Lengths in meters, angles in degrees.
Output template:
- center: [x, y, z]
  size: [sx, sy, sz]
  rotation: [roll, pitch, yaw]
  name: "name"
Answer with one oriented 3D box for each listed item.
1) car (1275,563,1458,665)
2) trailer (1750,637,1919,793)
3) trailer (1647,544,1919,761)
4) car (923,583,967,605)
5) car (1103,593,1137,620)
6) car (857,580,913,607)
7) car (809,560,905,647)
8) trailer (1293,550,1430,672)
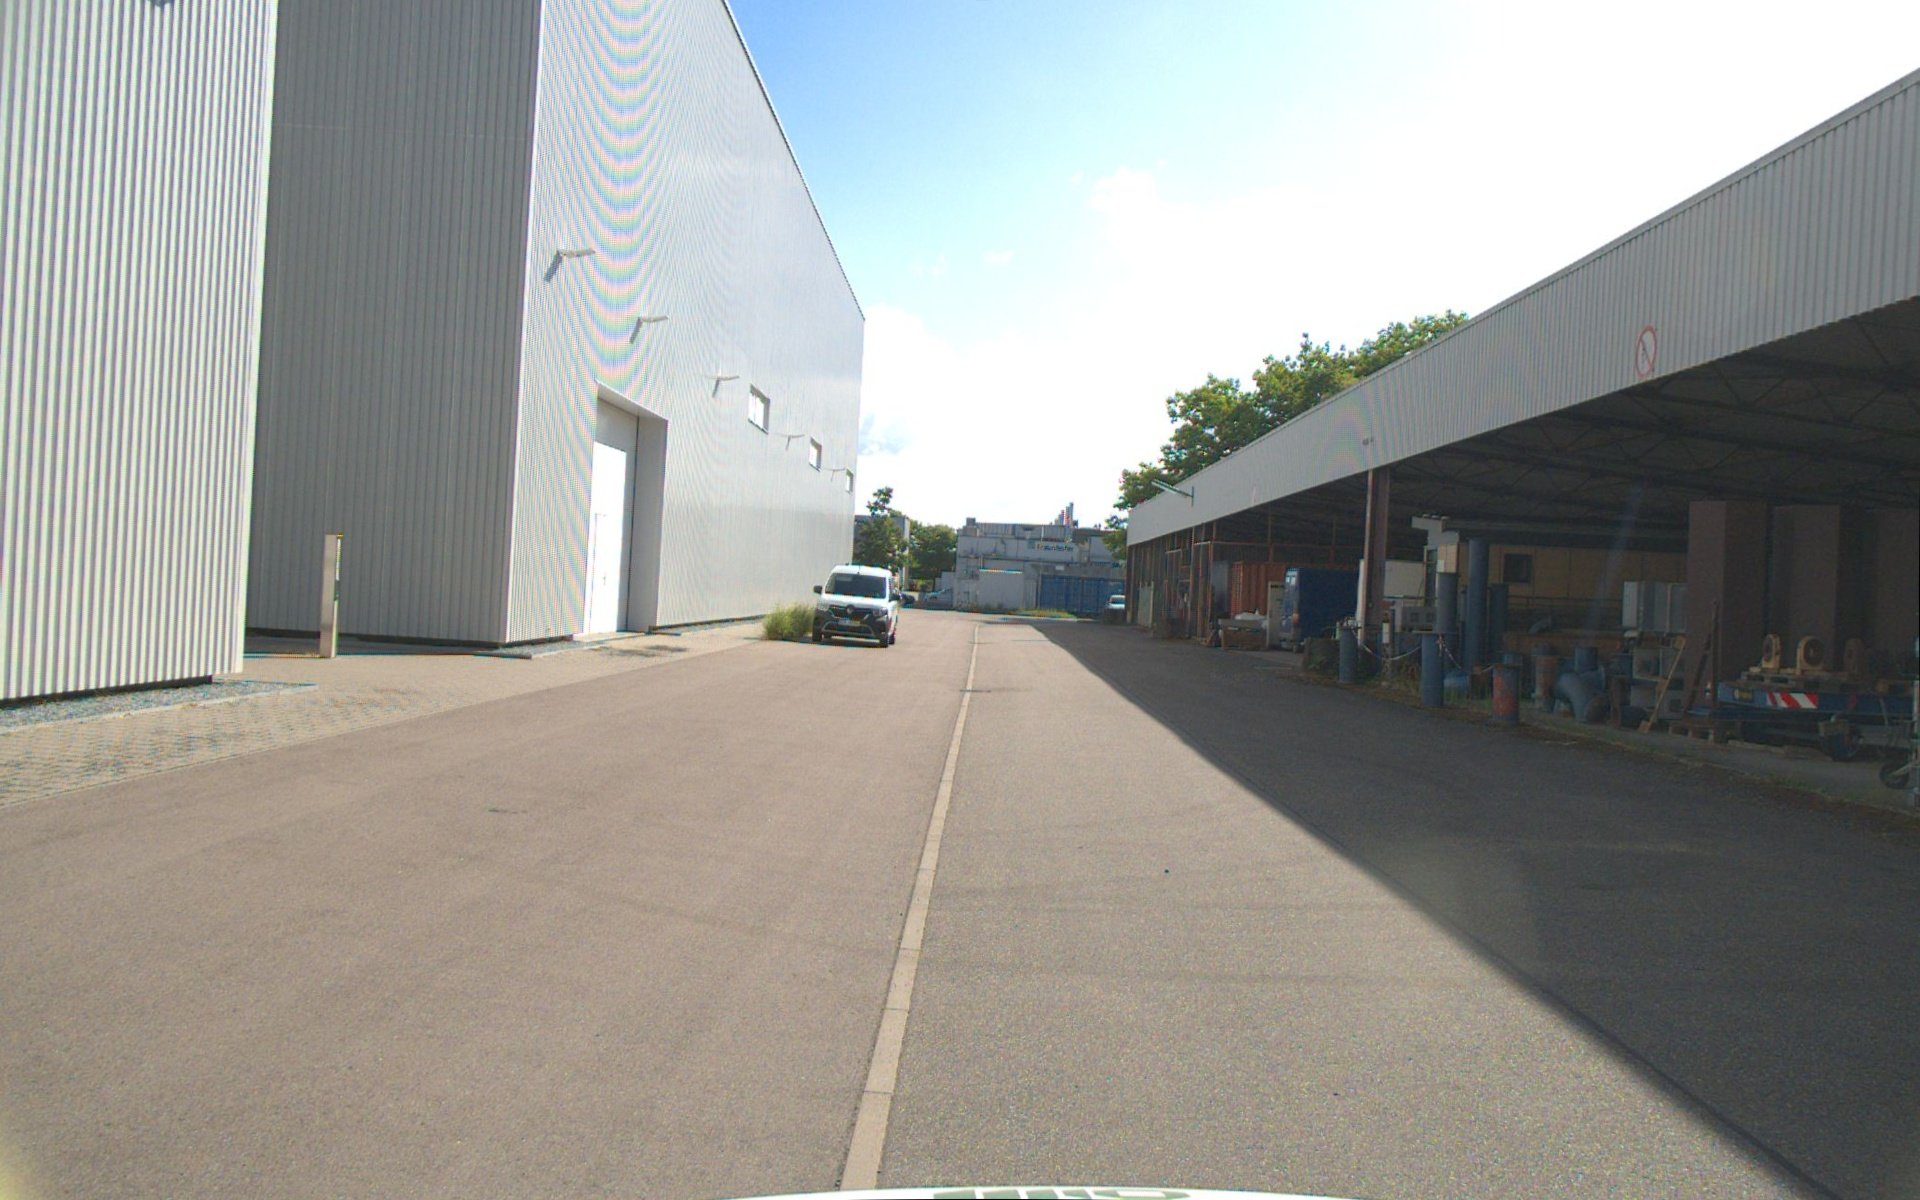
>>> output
- center: [10.868, 0.395, 44.443]
  size: [4.342, 2.349, 1.916]
  rotation: [4, -2, 1]
  name: "car"
- center: [10.154, 1.049, 14.193]
  size: [5.729, 1.153, 2.141]
  rotation: [2, 1, -1]
  name: "trailer"
- center: [10.516, 0.589, 17.397]
  size: [5.647, 2.067, 2.078]
  rotation: [2, 0, 2]
  name: "trailer"
- center: [-1.354, -0.504, 149.372]
  size: [3.906, 1.626, 1.848]
  rotation: [5, -2, -1]
  name: "car"
- center: [10.492, 0.411, 108.933]
  size: [1.922, 1.591, 4.060]
  rotation: [4, 1, 3]
  name: "car"
- center: [-5.482, -0.464, 121.533]
  size: [3.906, 1.626, 1.741]
  rotation: [5, -2, -1]
  name: "car"
- center: [-2.383, 0.054, 39.265]
  size: [1.781, 1.818, 4.406]
  rotation: [4, 1, 1]
  name: "car"
- center: [8.624, 0.229, 35.680]
  size: [2.471, 2.440, 1.727]
  rotation: [3, -1, 2]
  name: "trailer"
